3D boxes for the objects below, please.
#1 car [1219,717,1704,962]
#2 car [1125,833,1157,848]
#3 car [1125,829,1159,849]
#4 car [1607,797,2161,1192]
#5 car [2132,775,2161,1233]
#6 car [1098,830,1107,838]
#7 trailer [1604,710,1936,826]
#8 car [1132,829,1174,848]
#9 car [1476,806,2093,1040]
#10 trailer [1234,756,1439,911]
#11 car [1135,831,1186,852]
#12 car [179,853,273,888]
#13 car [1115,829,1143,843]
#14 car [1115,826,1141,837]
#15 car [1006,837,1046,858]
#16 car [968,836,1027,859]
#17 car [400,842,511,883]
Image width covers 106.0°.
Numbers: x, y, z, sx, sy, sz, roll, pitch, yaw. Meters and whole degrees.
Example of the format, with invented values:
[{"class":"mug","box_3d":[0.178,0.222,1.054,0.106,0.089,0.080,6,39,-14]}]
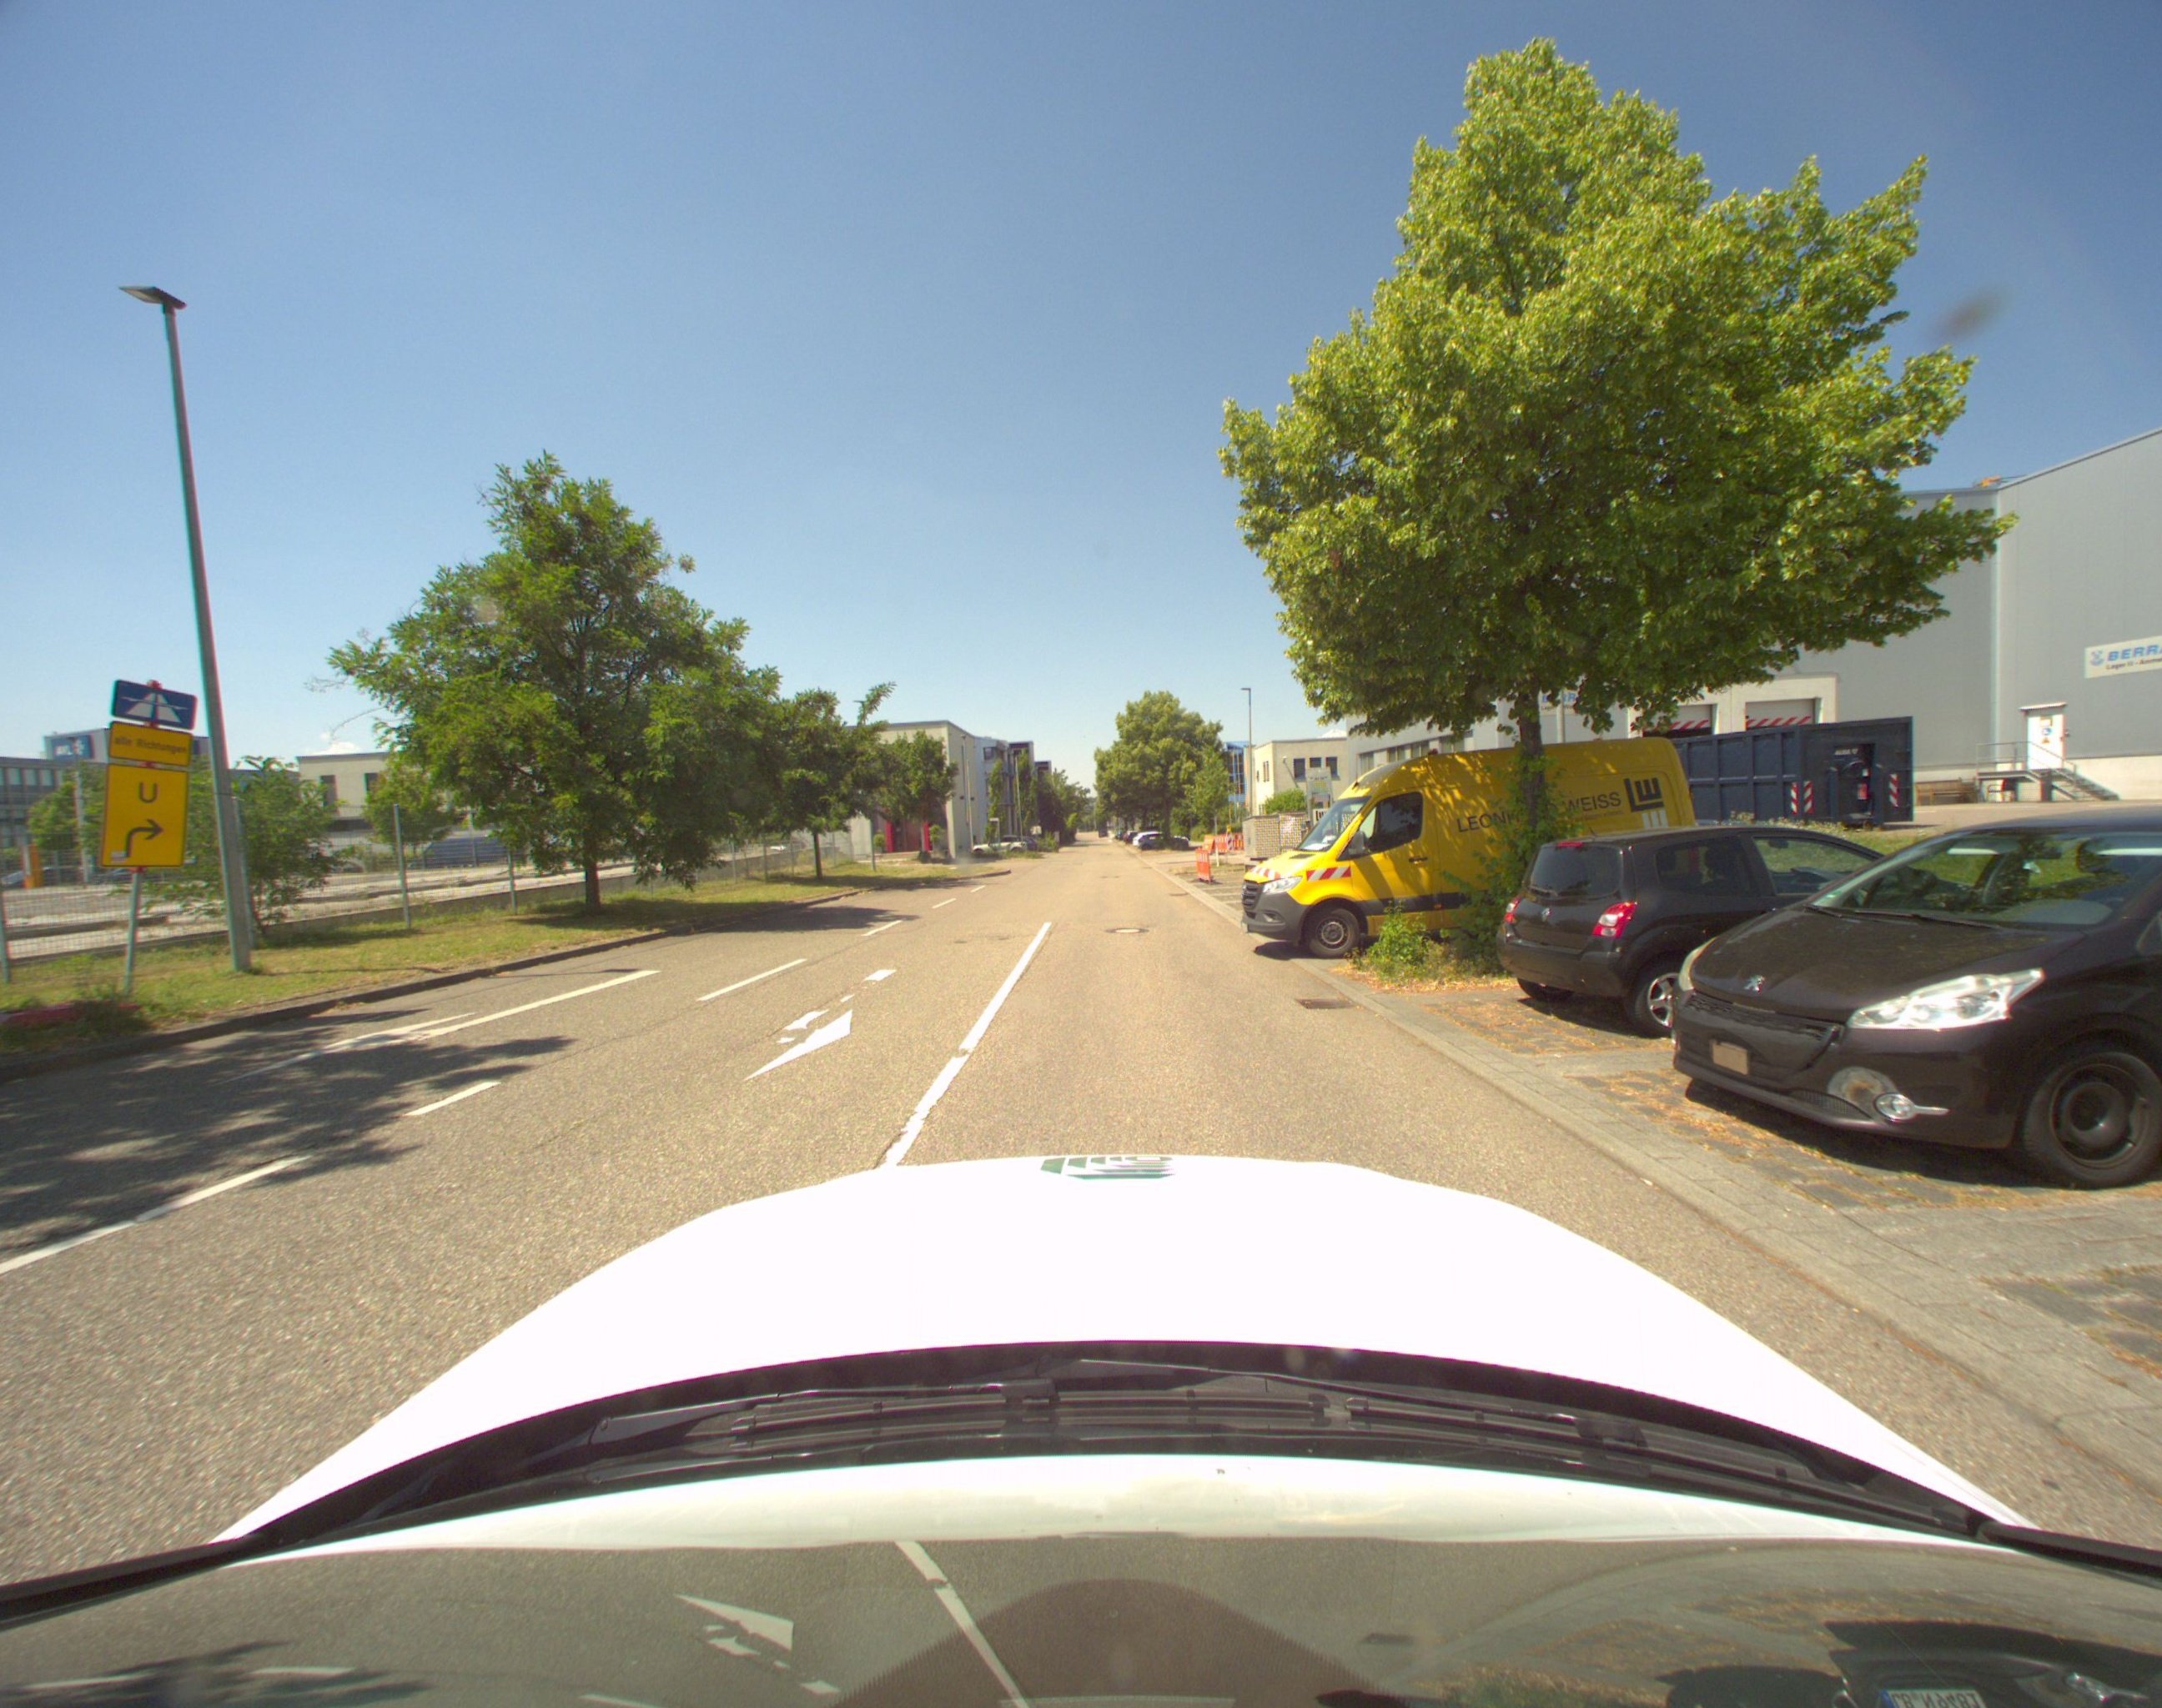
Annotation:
[{"class":"car","box_3d":[5.042,-0.221,11.371,5.762,2.732,2.000,-4,2,-1]},{"class":"car","box_3d":[7.041,-1.613,95.945,3.709,1.626,1.814,-2,1,1]},{"class":"car","box_3d":[6.909,-1.737,92.527,3.709,2.110,1.814,-2,1,1]},{"class":"car","box_3d":[5.055,0.498,4.122,3.760,1.507,1.590,-3,1,-1]},{"class":"car","box_3d":[5.204,0.358,1.771,3.647,1.462,1.628,-4,1,1]},{"class":"car","box_3d":[4.662,-4.311,174.756,1.754,1.755,3.947,-2,1,2]},{"class":"trailer","box_3d":[17.199,-2.156,21.246,2.648,2.419,7.424,-1,5,3]},{"class":"car","box_3d":[6.492,-1.414,73.509,3.509,1.354,1.536,-5,1,-4]},{"class":"car","box_3d":[5.392,0.466,6.578,3.591,1.478,1.627,-3,1,-1]},{"class":"trailer","box_3d":[5.553,-0.470,18.790,2.650,2.856,5.515,-4,1,-2]},{"class":"car","box_3d":[6.229,-0.976,63.777,3.671,1.354,1.643,-5,1,-4]},{"class":"car","box_3d":[-55.903,1.077,53.278,3.970,2.012,1.975,-1,5,3]},{"class":"car","box_3d":[7.210,-2.731,123.205,3.927,1.834,1.764,-2,5,-7]},{"class":"car","box_3d":[7.796,-3.676,135.416,3.927,1.577,1.764,-2,5,-7]},{"class":"car","box_3d":[-4.295,-0.518,63.193,3.053,1.478,1.290,-2,1,-6]},{"class":"car","box_3d":[-5.982,-0.451,58.701,4.035,1.494,1.728,-2,1,-2]},{"class":"car","box_3d":[-39.680,0.496,51.778,5.223,2.271,2.135,-2,5,2]}]
